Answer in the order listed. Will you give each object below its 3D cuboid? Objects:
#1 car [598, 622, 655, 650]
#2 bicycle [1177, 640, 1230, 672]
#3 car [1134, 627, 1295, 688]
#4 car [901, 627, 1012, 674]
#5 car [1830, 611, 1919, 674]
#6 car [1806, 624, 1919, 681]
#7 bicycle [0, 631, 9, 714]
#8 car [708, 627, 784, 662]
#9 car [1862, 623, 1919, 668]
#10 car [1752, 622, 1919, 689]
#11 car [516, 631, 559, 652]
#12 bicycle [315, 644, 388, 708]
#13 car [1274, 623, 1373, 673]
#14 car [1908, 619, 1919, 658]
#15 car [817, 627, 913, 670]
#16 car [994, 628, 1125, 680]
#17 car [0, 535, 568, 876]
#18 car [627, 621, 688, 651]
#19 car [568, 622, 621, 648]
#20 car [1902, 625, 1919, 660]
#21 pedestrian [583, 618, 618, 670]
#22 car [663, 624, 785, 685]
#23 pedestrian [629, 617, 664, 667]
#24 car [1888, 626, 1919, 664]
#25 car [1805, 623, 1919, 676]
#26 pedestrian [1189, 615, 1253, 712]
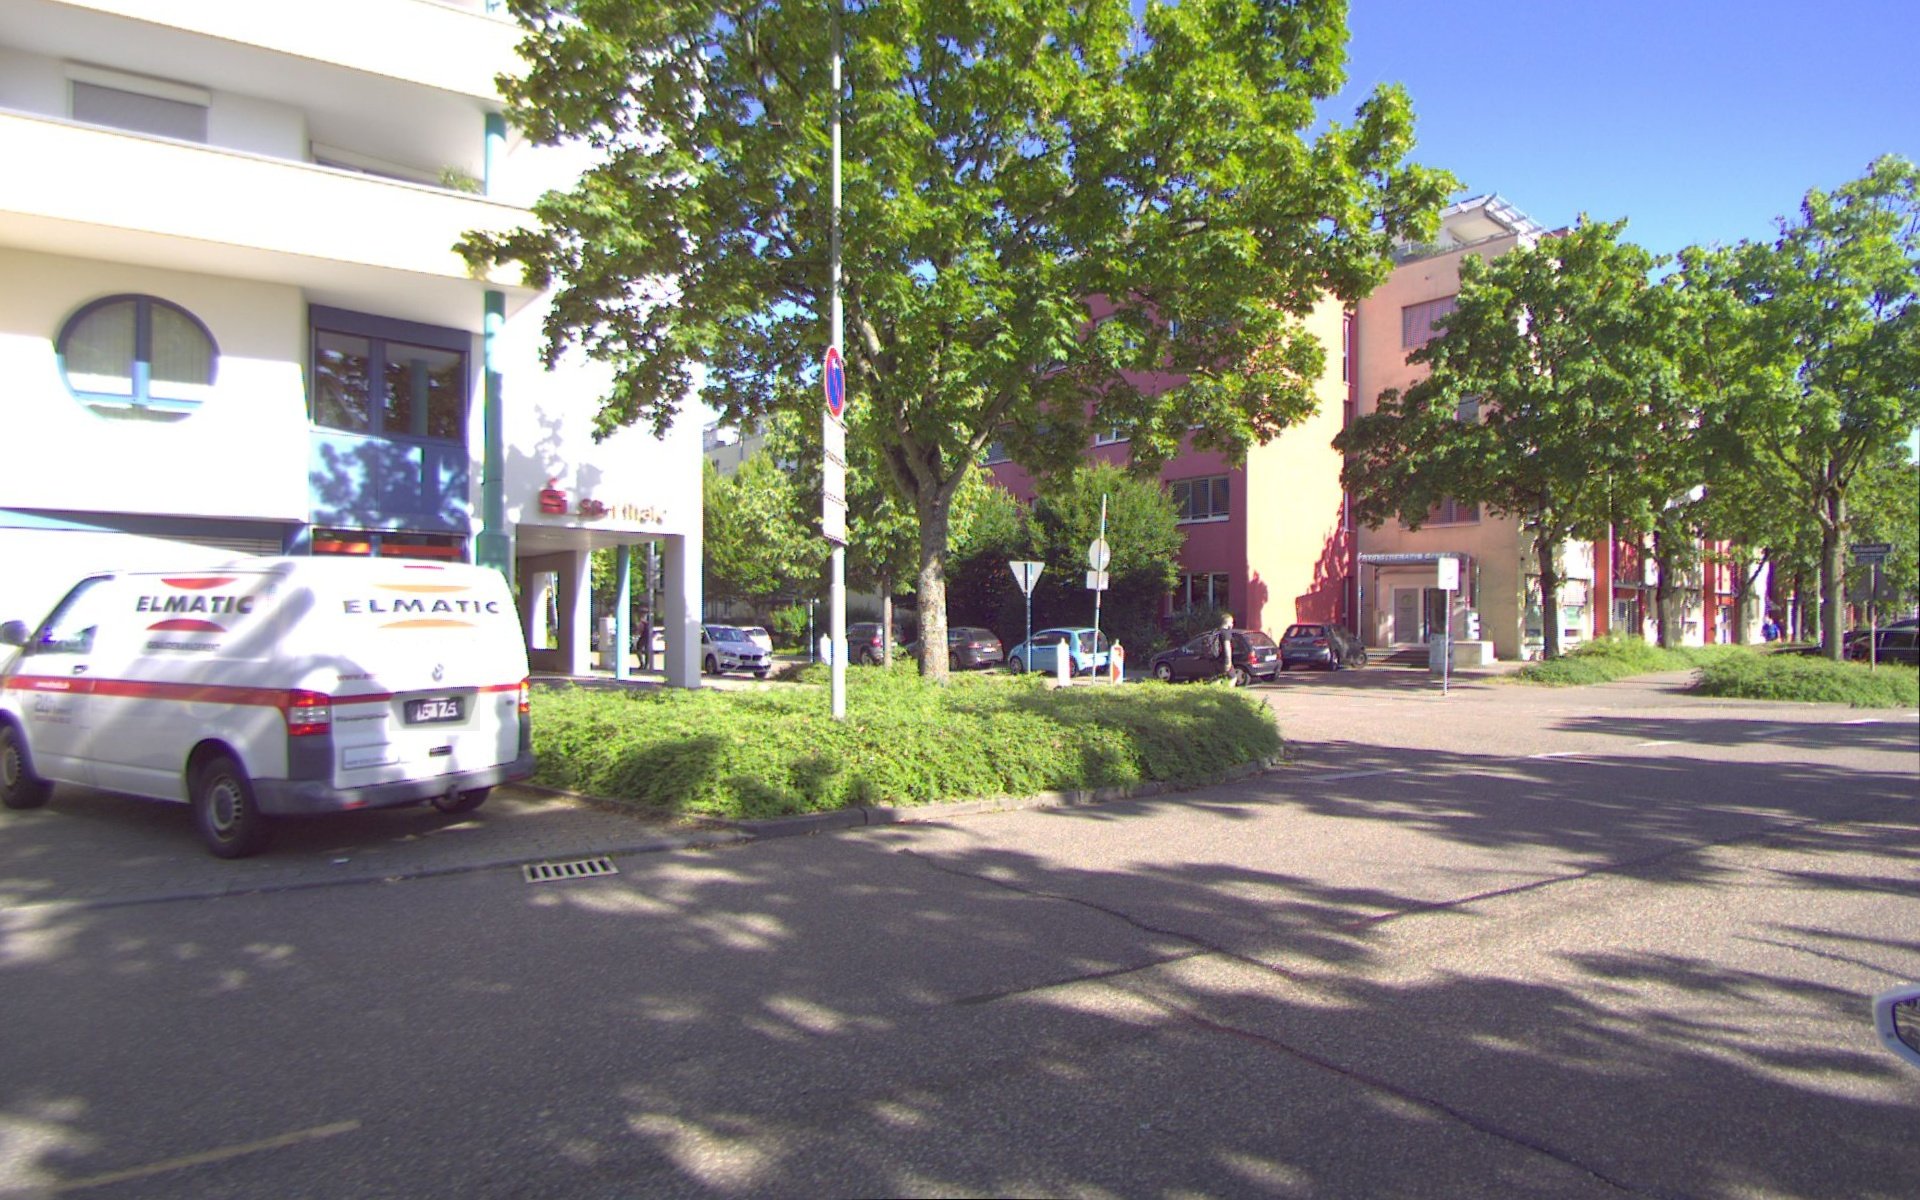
[{"bbox_3d":[-20.062,2.138,60.333,1.921,1.524,3.874,-2,0,-40],"label":"car"},{"bbox_3d":[7.970,1.826,32.913,1.646,0.999,0.449,-1,-2,34],"label":"bicycle"},{"bbox_3d":[6.889,1.521,27.488,1.789,1.466,3.949,-2,0,-40],"label":"car"},{"bbox_3d":[-0.174,1.770,36.094,1.921,1.524,3.962,-2,0,-40],"label":"car"},{"bbox_3d":[29.508,1.321,30.917,1.771,1.835,3.860,1,0,-39],"label":"car"},{"bbox_3d":[25.898,1.441,27.564,1.725,1.442,3.860,1,0,-39],"label":"car"},{"bbox_3d":[-12.962,0.949,12.806,0.693,1.112,1.792,1,-2,-27],"label":"bicycle"},{"bbox_3d":[-10.378,2.102,48.554,1.921,1.524,3.962,-2,0,-40],"label":"car"},{"bbox_3d":[33.363,1.581,34.272,1.863,1.466,3.690,1,0,-43],"label":"car"},{"bbox_3d":[22.227,1.336,24.510,1.723,1.442,4.233,1,0,-36],"label":"car"},{"bbox_3d":[-31.682,3.098,75.305,1.921,1.524,3.874,1,-3,-40],"label":"car"},{"bbox_3d":[-9.618,1.179,15.850,1.778,0.883,0.489,1,-1,42],"label":"bicycle"},{"bbox_3d":[11.534,1.488,31.750,1.713,1.462,4.114,-2,-2,38],"label":"car"},{"bbox_3d":[44.667,1.755,43.978,1.943,1.740,4.292,1,0,-35],"label":"car"},{"bbox_3d":[-3.860,1.900,40.239,1.921,1.524,3.962,-2,0,-40],"label":"car"},{"bbox_3d":[3.128,1.665,32.192,1.921,1.470,3.962,-2,0,-40],"label":"car"},{"bbox_3d":[-5.551,0.613,7.851,4.681,2.012,1.998,0,0,26],"label":"car"},{"bbox_3d":[-17.171,2.011,56.866,1.921,1.524,3.874,-2,0,-40],"label":"car"},{"bbox_3d":[-23.389,2.195,64.181,1.921,1.524,3.874,-2,0,-40],"label":"car"},{"bbox_3d":[42.722,1.869,42.254,1.759,1.446,4.363,1,0,-41],"label":"car"},{"bbox_3d":[-10.888,1.320,30.420,0.714,1.534,0.789,1,0,-42],"label":"pedestrian"},{"bbox_3d":[-7.241,1.591,30.556,1.984,1.615,4.199,0,0,-40],"label":"car"},{"bbox_3d":[-9.534,1.272,30.517,0.834,1.508,0.678,-1,-2,42],"label":"pedestrian"},{"bbox_3d":[38.751,1.788,39.065,1.826,1.446,3.694,1,0,-40],"label":"car"},{"bbox_3d":[27.575,1.453,29.588,1.725,1.442,3.860,1,0,-39],"label":"car"},{"bbox_3d":[4.848,1.173,18.678,1.012,1.748,0.652,1,-3,-36],"label":"pedestrian"}]
